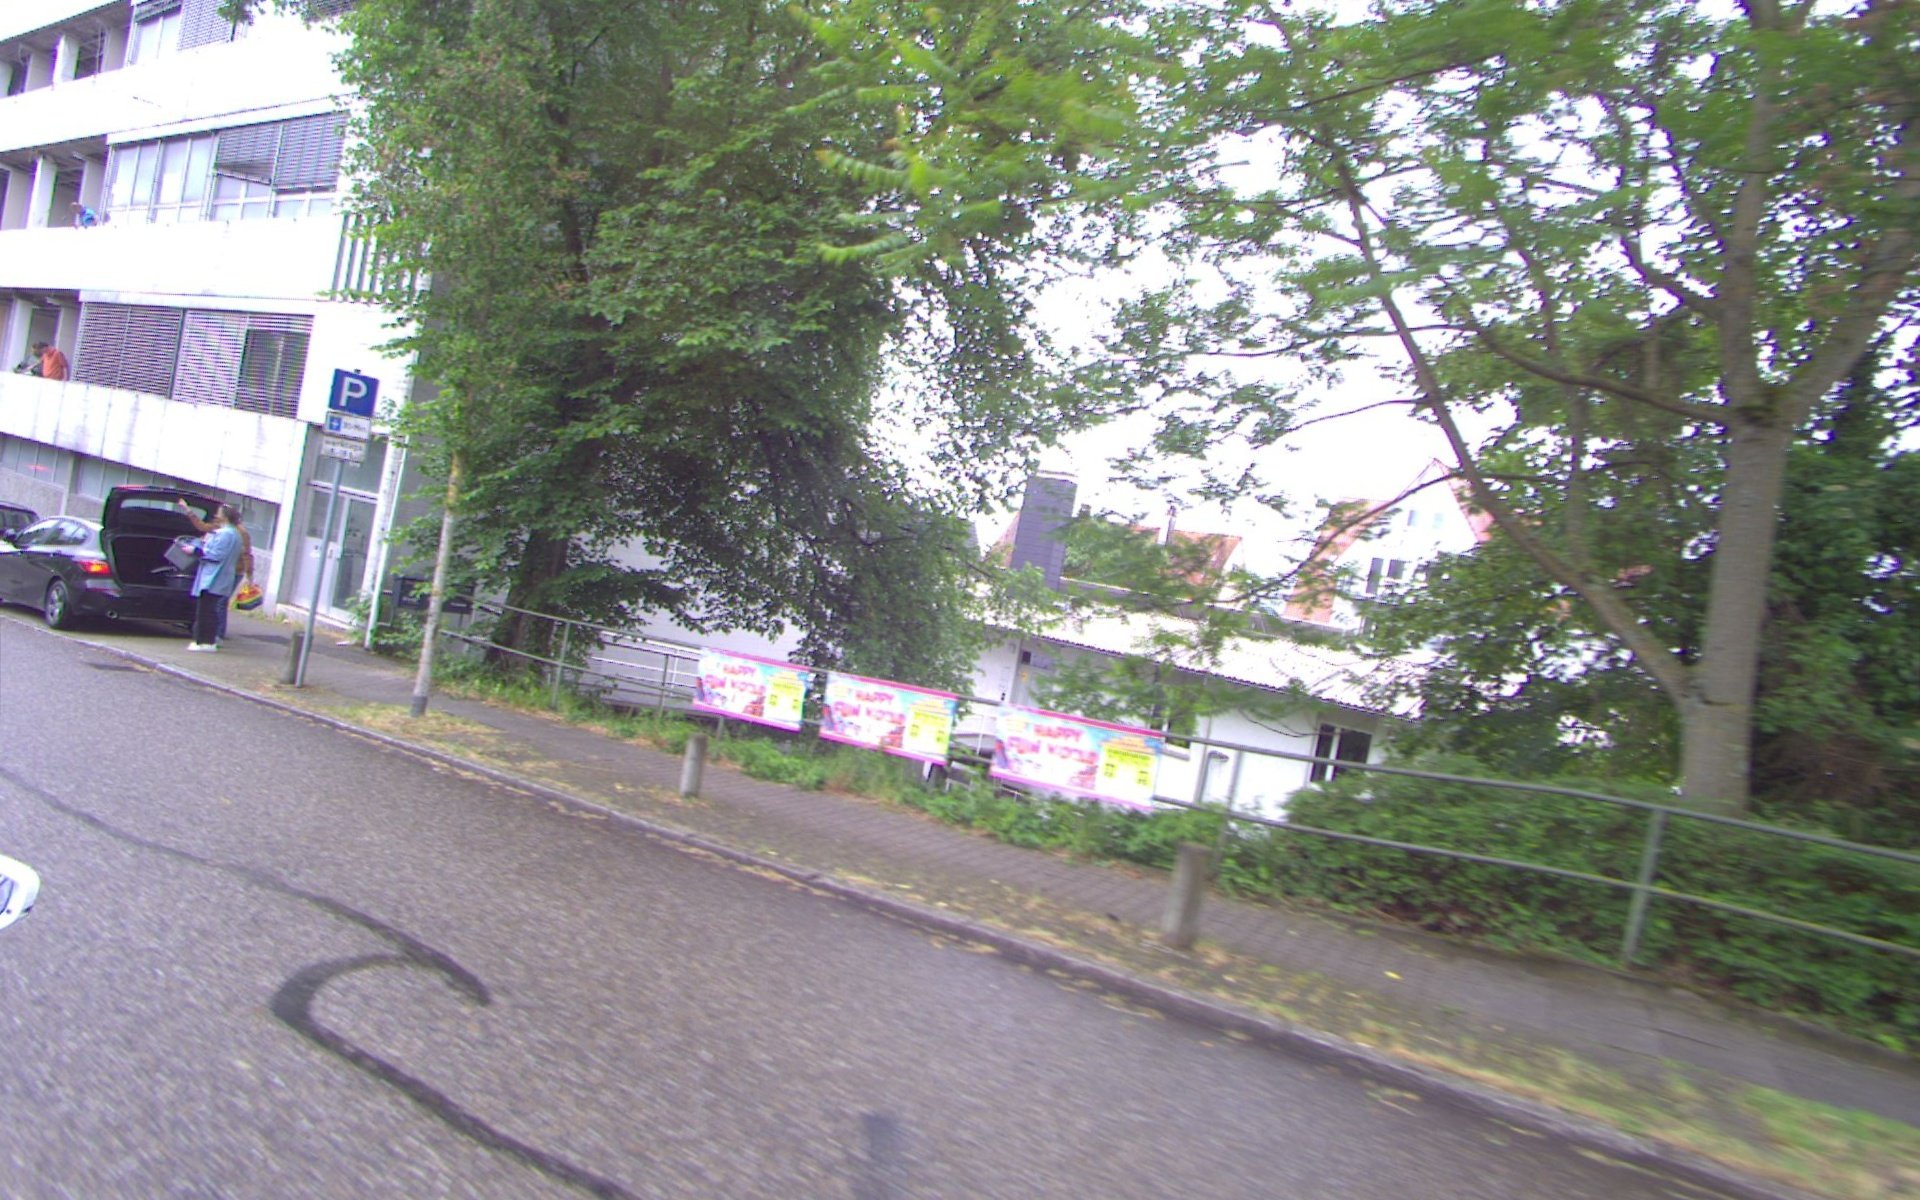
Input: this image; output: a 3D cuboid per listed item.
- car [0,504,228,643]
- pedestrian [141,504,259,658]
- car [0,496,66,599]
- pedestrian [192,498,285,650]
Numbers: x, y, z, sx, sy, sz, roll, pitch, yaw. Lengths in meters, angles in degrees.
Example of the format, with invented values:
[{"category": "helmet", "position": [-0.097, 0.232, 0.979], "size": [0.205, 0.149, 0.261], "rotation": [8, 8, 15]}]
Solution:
[{"category": "car", "position": [-12.005, -0.415, 13.873], "size": [3.932, 1.452, 1.507], "rotation": [7, -1, 30]}, {"category": "pedestrian", "position": [-9.276, -0.228, 12.304], "size": [0.724, 1.746, 0.764], "rotation": [7, 2, -8]}, {"category": "car", "position": [-16.795, -1.067, 16.776], "size": [3.934, 1.481, 1.684], "rotation": [8, 0, 32]}, {"category": "pedestrian", "position": [-9.435, -0.338, 13.174], "size": [0.656, 1.860, 0.685], "rotation": [7, 2, -18]}]
